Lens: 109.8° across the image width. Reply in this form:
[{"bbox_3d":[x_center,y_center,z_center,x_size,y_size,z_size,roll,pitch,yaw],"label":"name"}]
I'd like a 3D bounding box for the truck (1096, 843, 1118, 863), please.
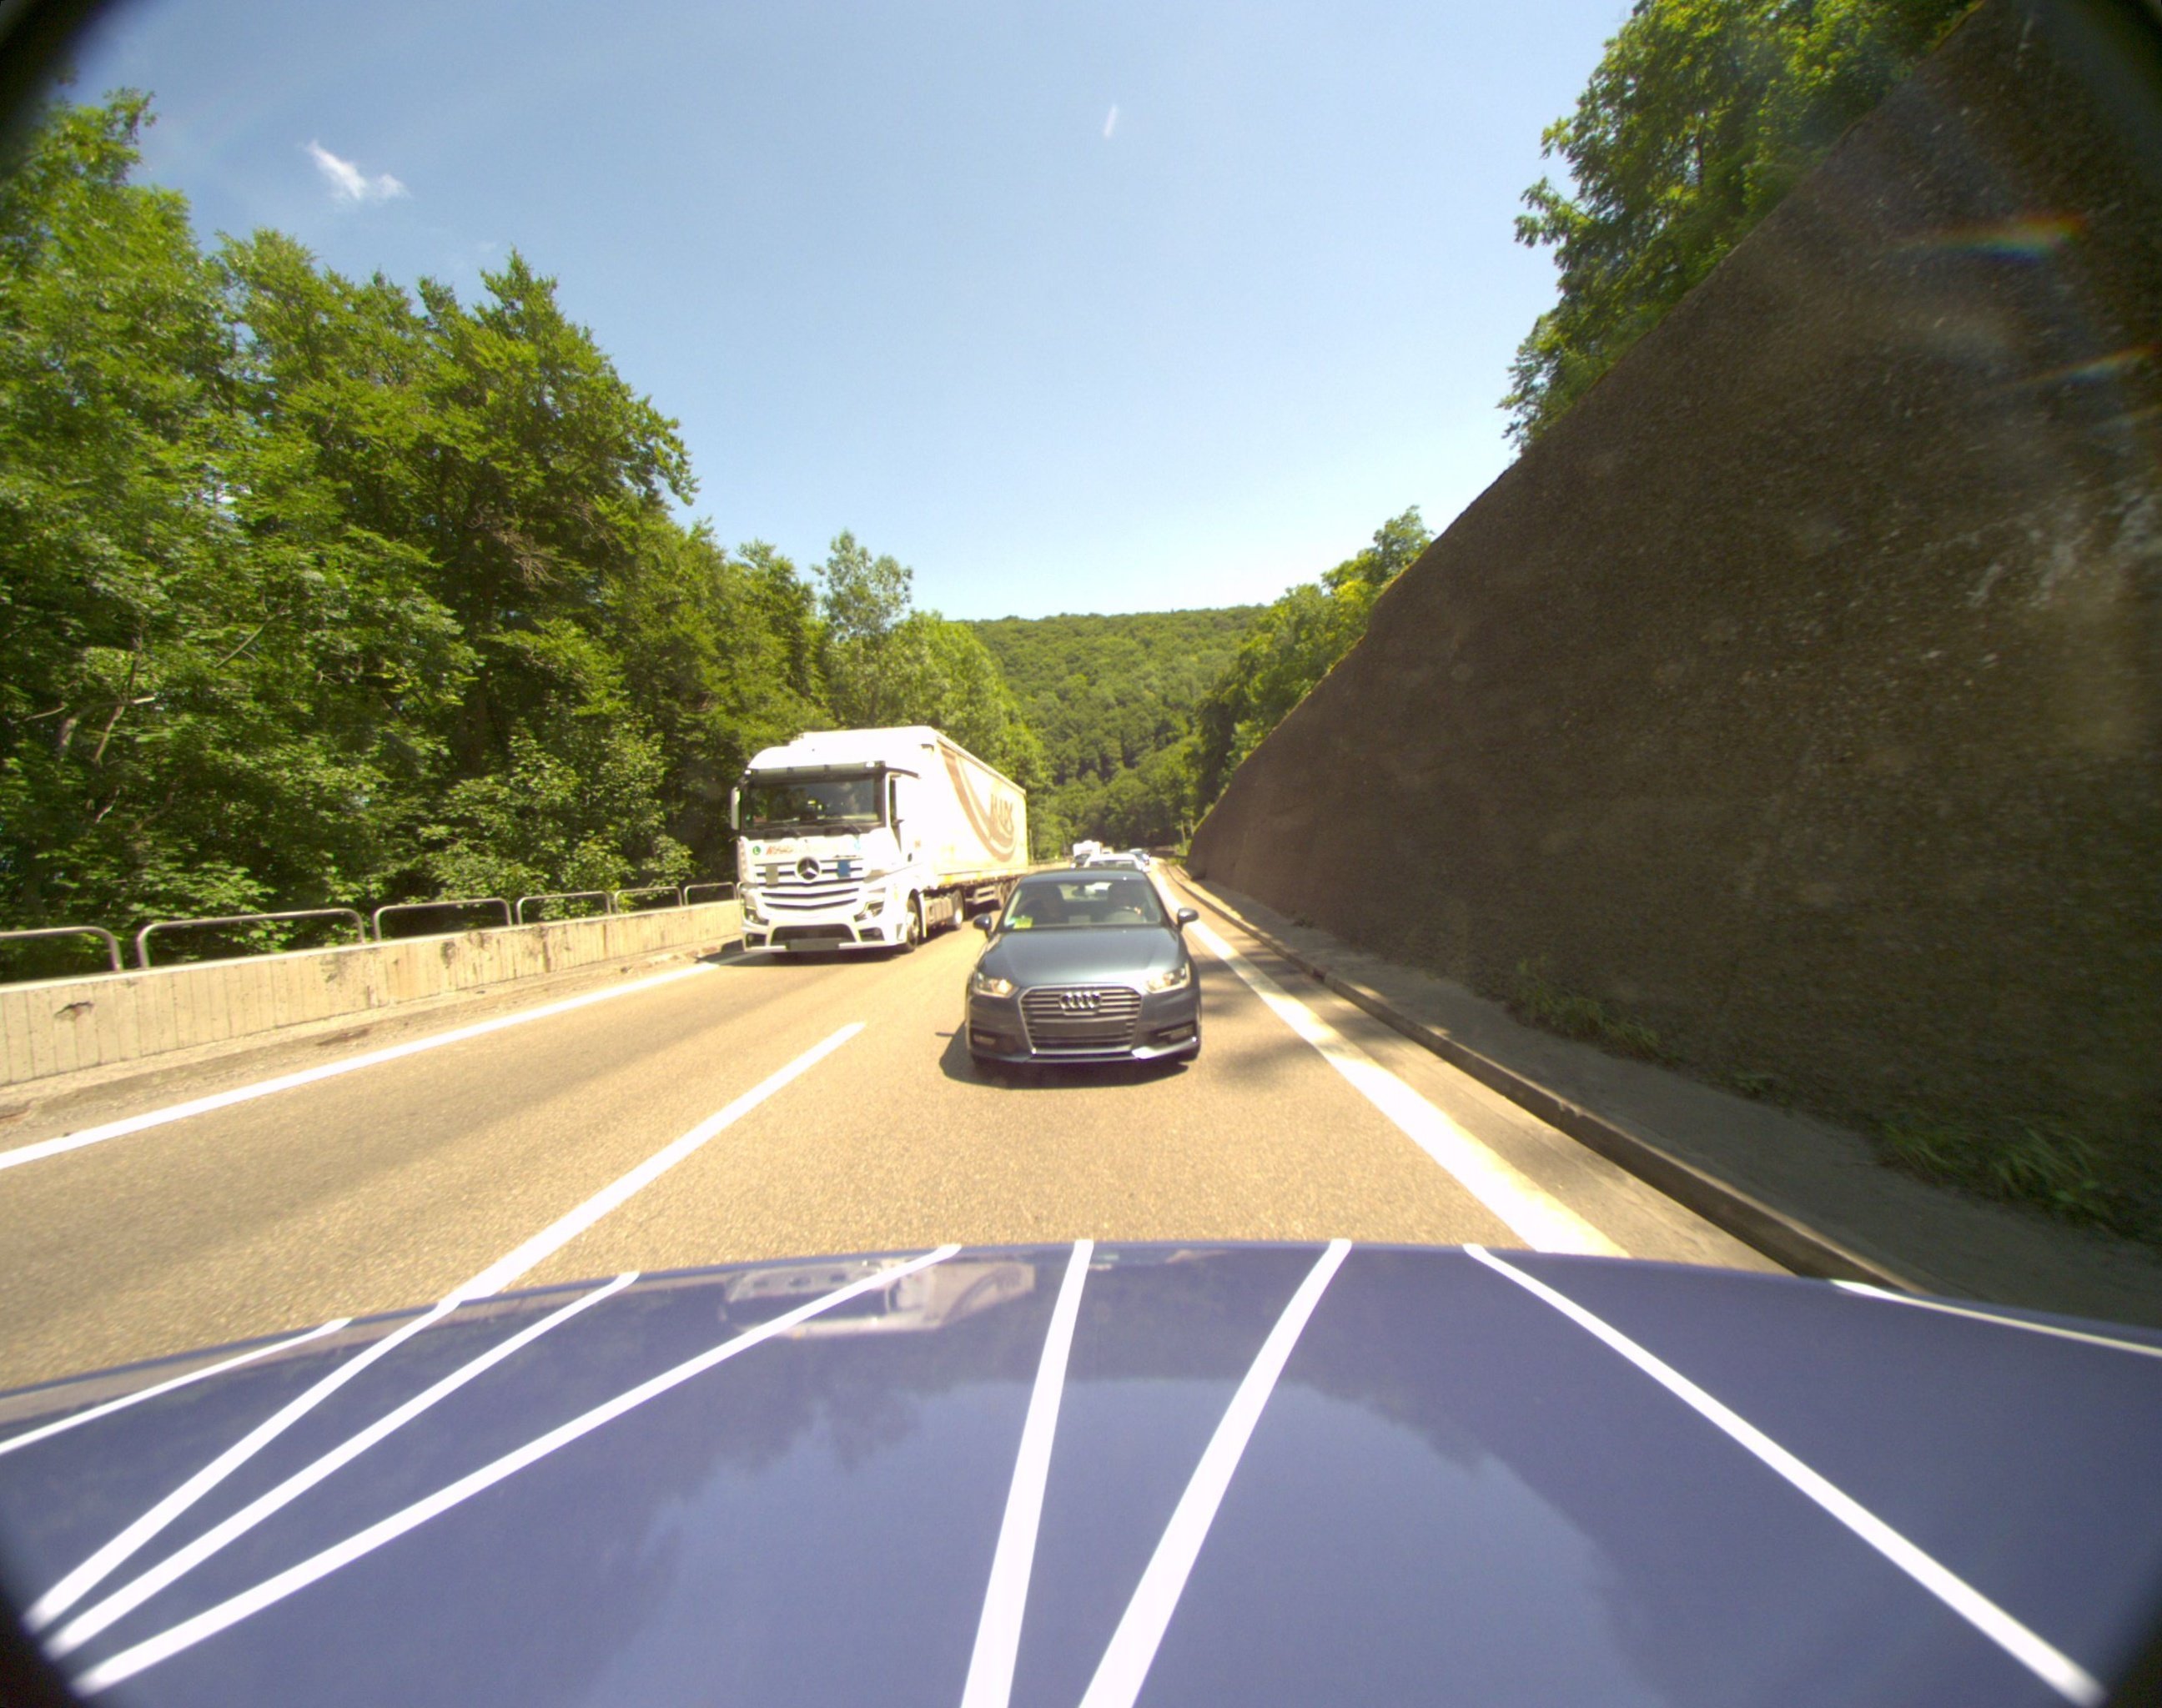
[{"bbox_3d":[3.332,-0.145,96.533,2.441,2.395,6.815,-3,0,4],"label":"truck"}]

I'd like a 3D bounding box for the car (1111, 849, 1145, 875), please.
[{"bbox_3d":[2.935,0.431,46.616,1.905,1.430,3.870,-3,0,4],"label":"car"}]

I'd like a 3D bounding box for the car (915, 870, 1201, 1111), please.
[{"bbox_3d":[0.003,0.915,6.847,1.755,1.350,4.123,-3,0,4],"label":"car"}]

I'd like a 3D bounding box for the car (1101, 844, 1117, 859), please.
[{"bbox_3d":[3.785,-0.326,103.445,1.998,2.002,4.000,-3,0,1],"label":"car"}]

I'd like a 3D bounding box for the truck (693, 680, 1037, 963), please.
[{"bbox_3d":[-3.786,-0.583,19.874,2.968,4.109,16.710,4,1,4],"label":"truck"}]

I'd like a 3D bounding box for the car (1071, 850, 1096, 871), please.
[{"bbox_3d":[0.256,0.545,65.226,1.998,1.652,4.000,-3,0,1],"label":"car"}]

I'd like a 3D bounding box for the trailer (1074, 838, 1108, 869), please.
[{"bbox_3d":[1.026,-0.100,72.844,2.526,2.694,9.507,-2,0,4],"label":"trailer"}]

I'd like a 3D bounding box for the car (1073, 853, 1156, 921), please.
[{"bbox_3d":[0.973,0.763,19.601,1.754,1.460,3.984,-3,0,7],"label":"car"}]
